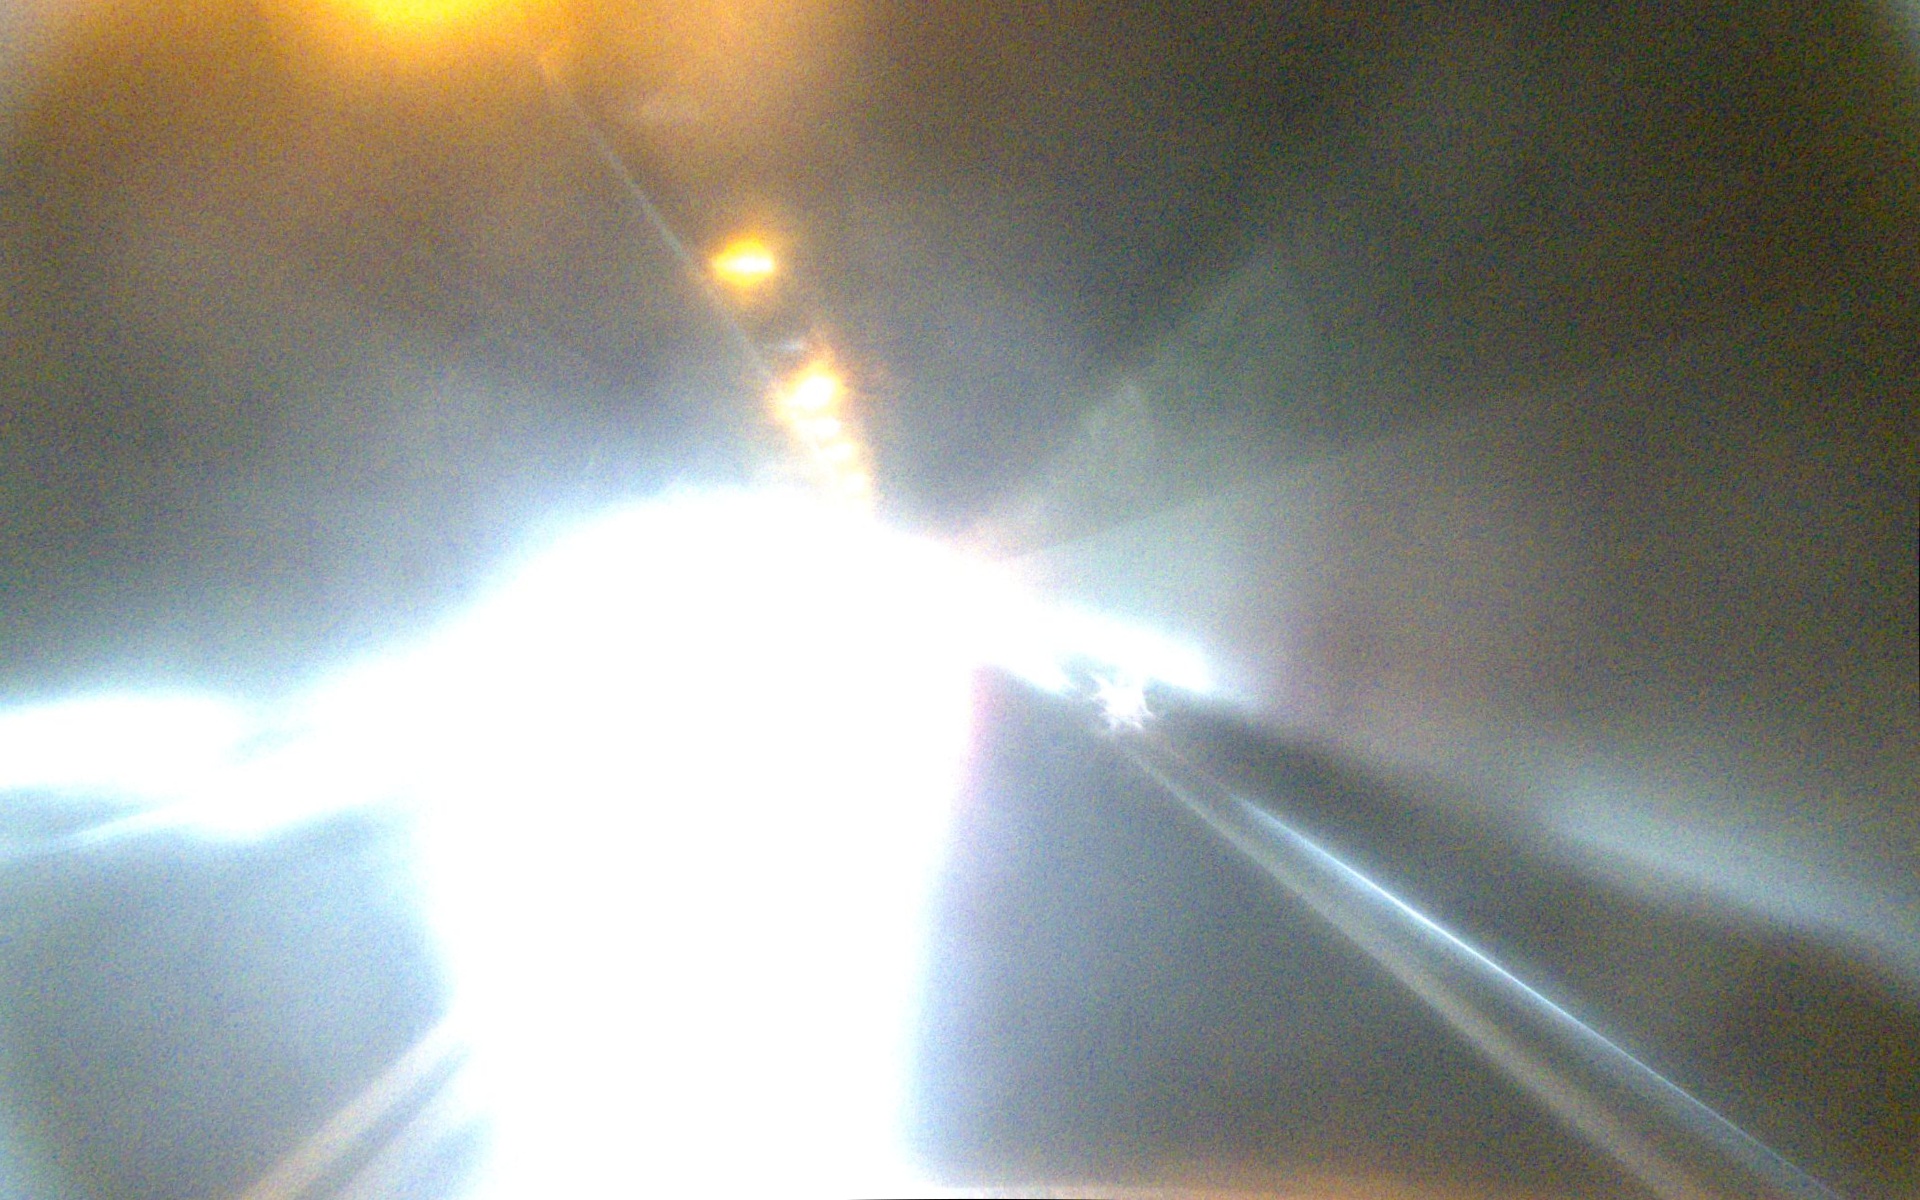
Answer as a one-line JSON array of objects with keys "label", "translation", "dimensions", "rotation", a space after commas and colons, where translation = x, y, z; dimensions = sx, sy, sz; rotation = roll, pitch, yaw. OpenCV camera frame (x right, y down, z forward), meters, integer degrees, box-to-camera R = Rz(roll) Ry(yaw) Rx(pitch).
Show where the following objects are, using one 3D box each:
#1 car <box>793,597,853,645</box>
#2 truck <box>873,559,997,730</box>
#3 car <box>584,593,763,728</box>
[{"label": "car", "translation": [-4.688, 0.693, 56.971], "dimensions": [1.776, 1.508, 4.200], "rotation": [-1, 0, -1]}, {"label": "truck", "translation": [-0.493, 0.793, 33.313], "dimensions": [2.216, 3.063, 7.413], "rotation": [0, 0, -1]}, {"label": "car", "translation": [-3.526, 0.685, 21.015], "dimensions": [1.626, 1.516, 3.962], "rotation": [-1, 0, -1]}]
